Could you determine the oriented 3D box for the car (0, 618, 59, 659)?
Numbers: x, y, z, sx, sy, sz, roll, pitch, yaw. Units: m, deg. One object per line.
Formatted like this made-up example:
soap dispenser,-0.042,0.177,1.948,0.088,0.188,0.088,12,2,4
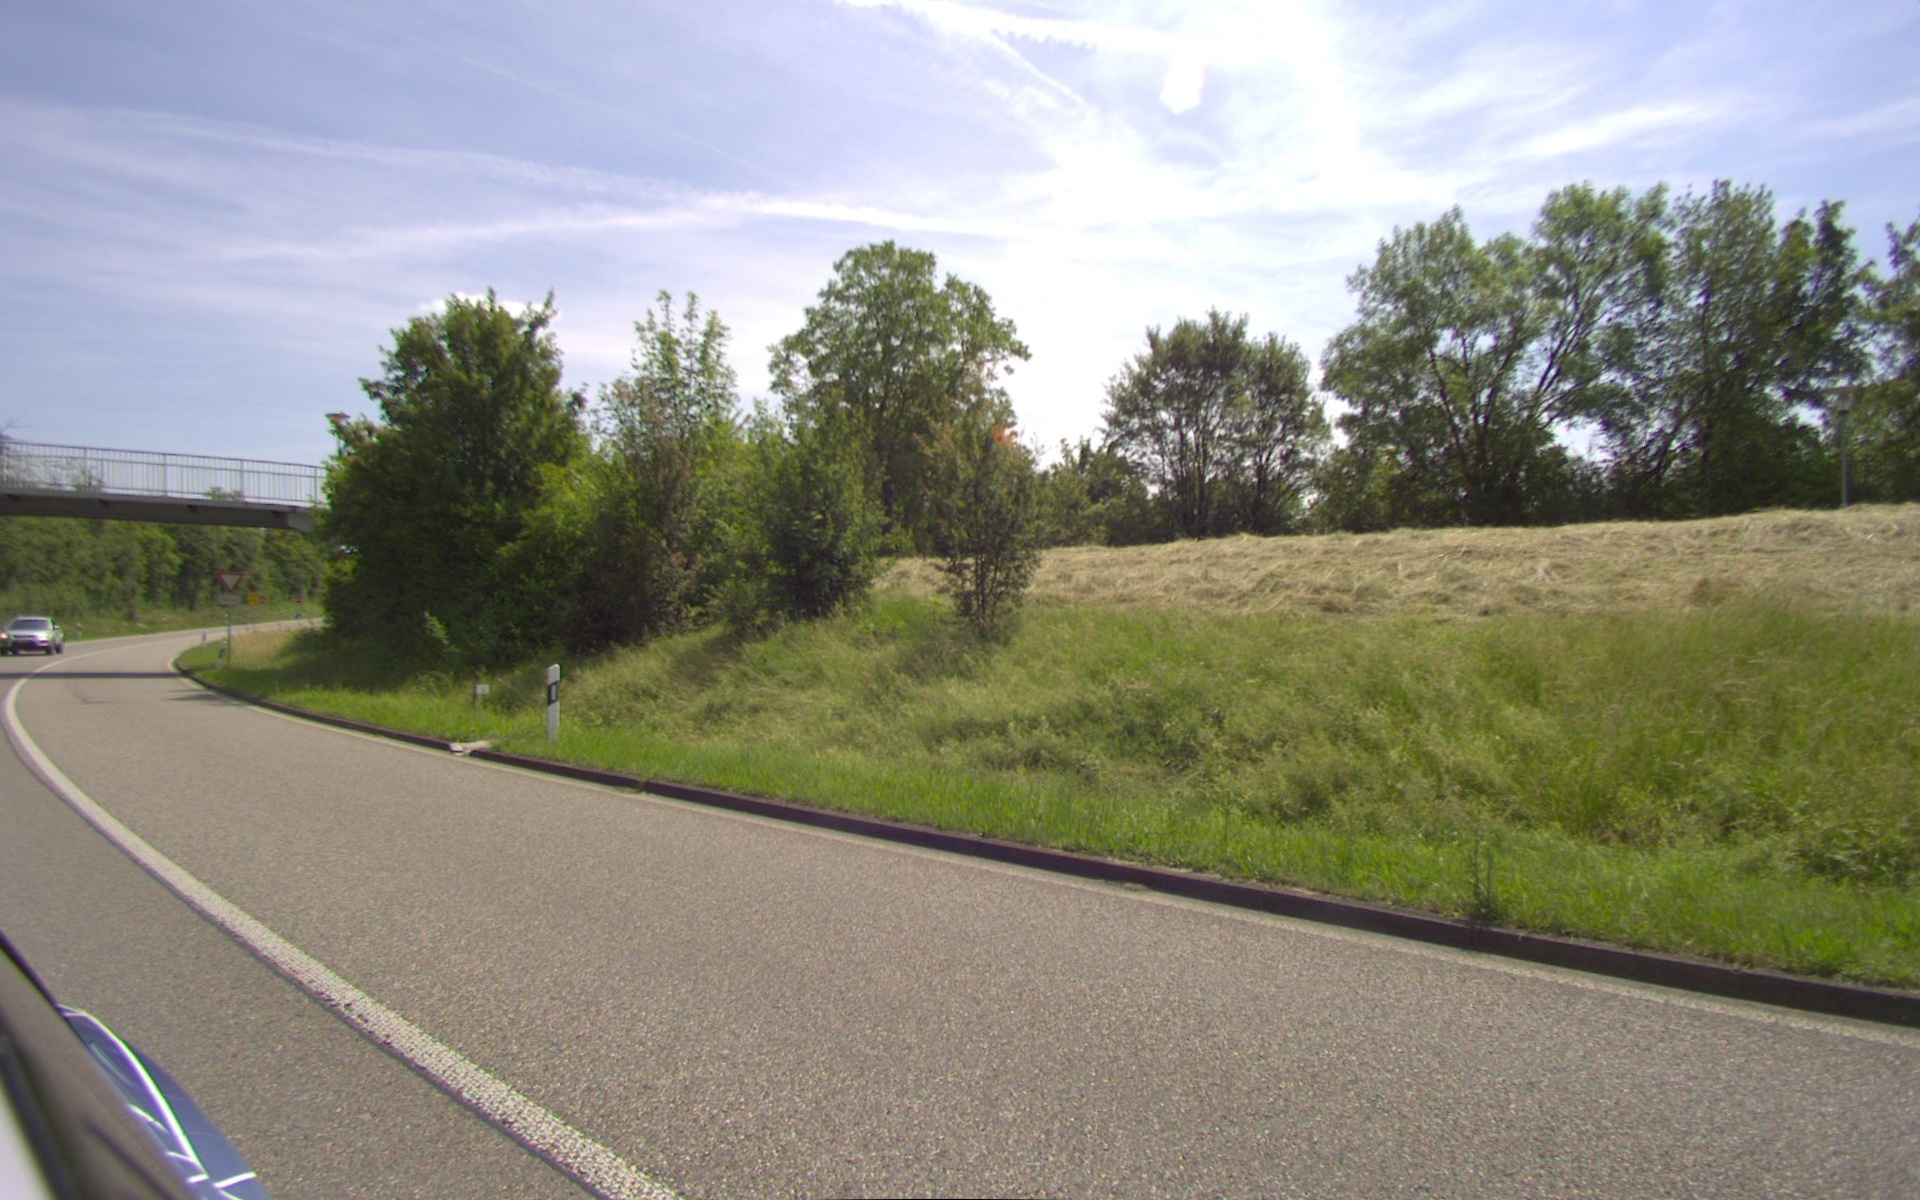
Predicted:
car,-41.649,1.670,45.150,1.820,1.721,4.098,0,-1,-37
